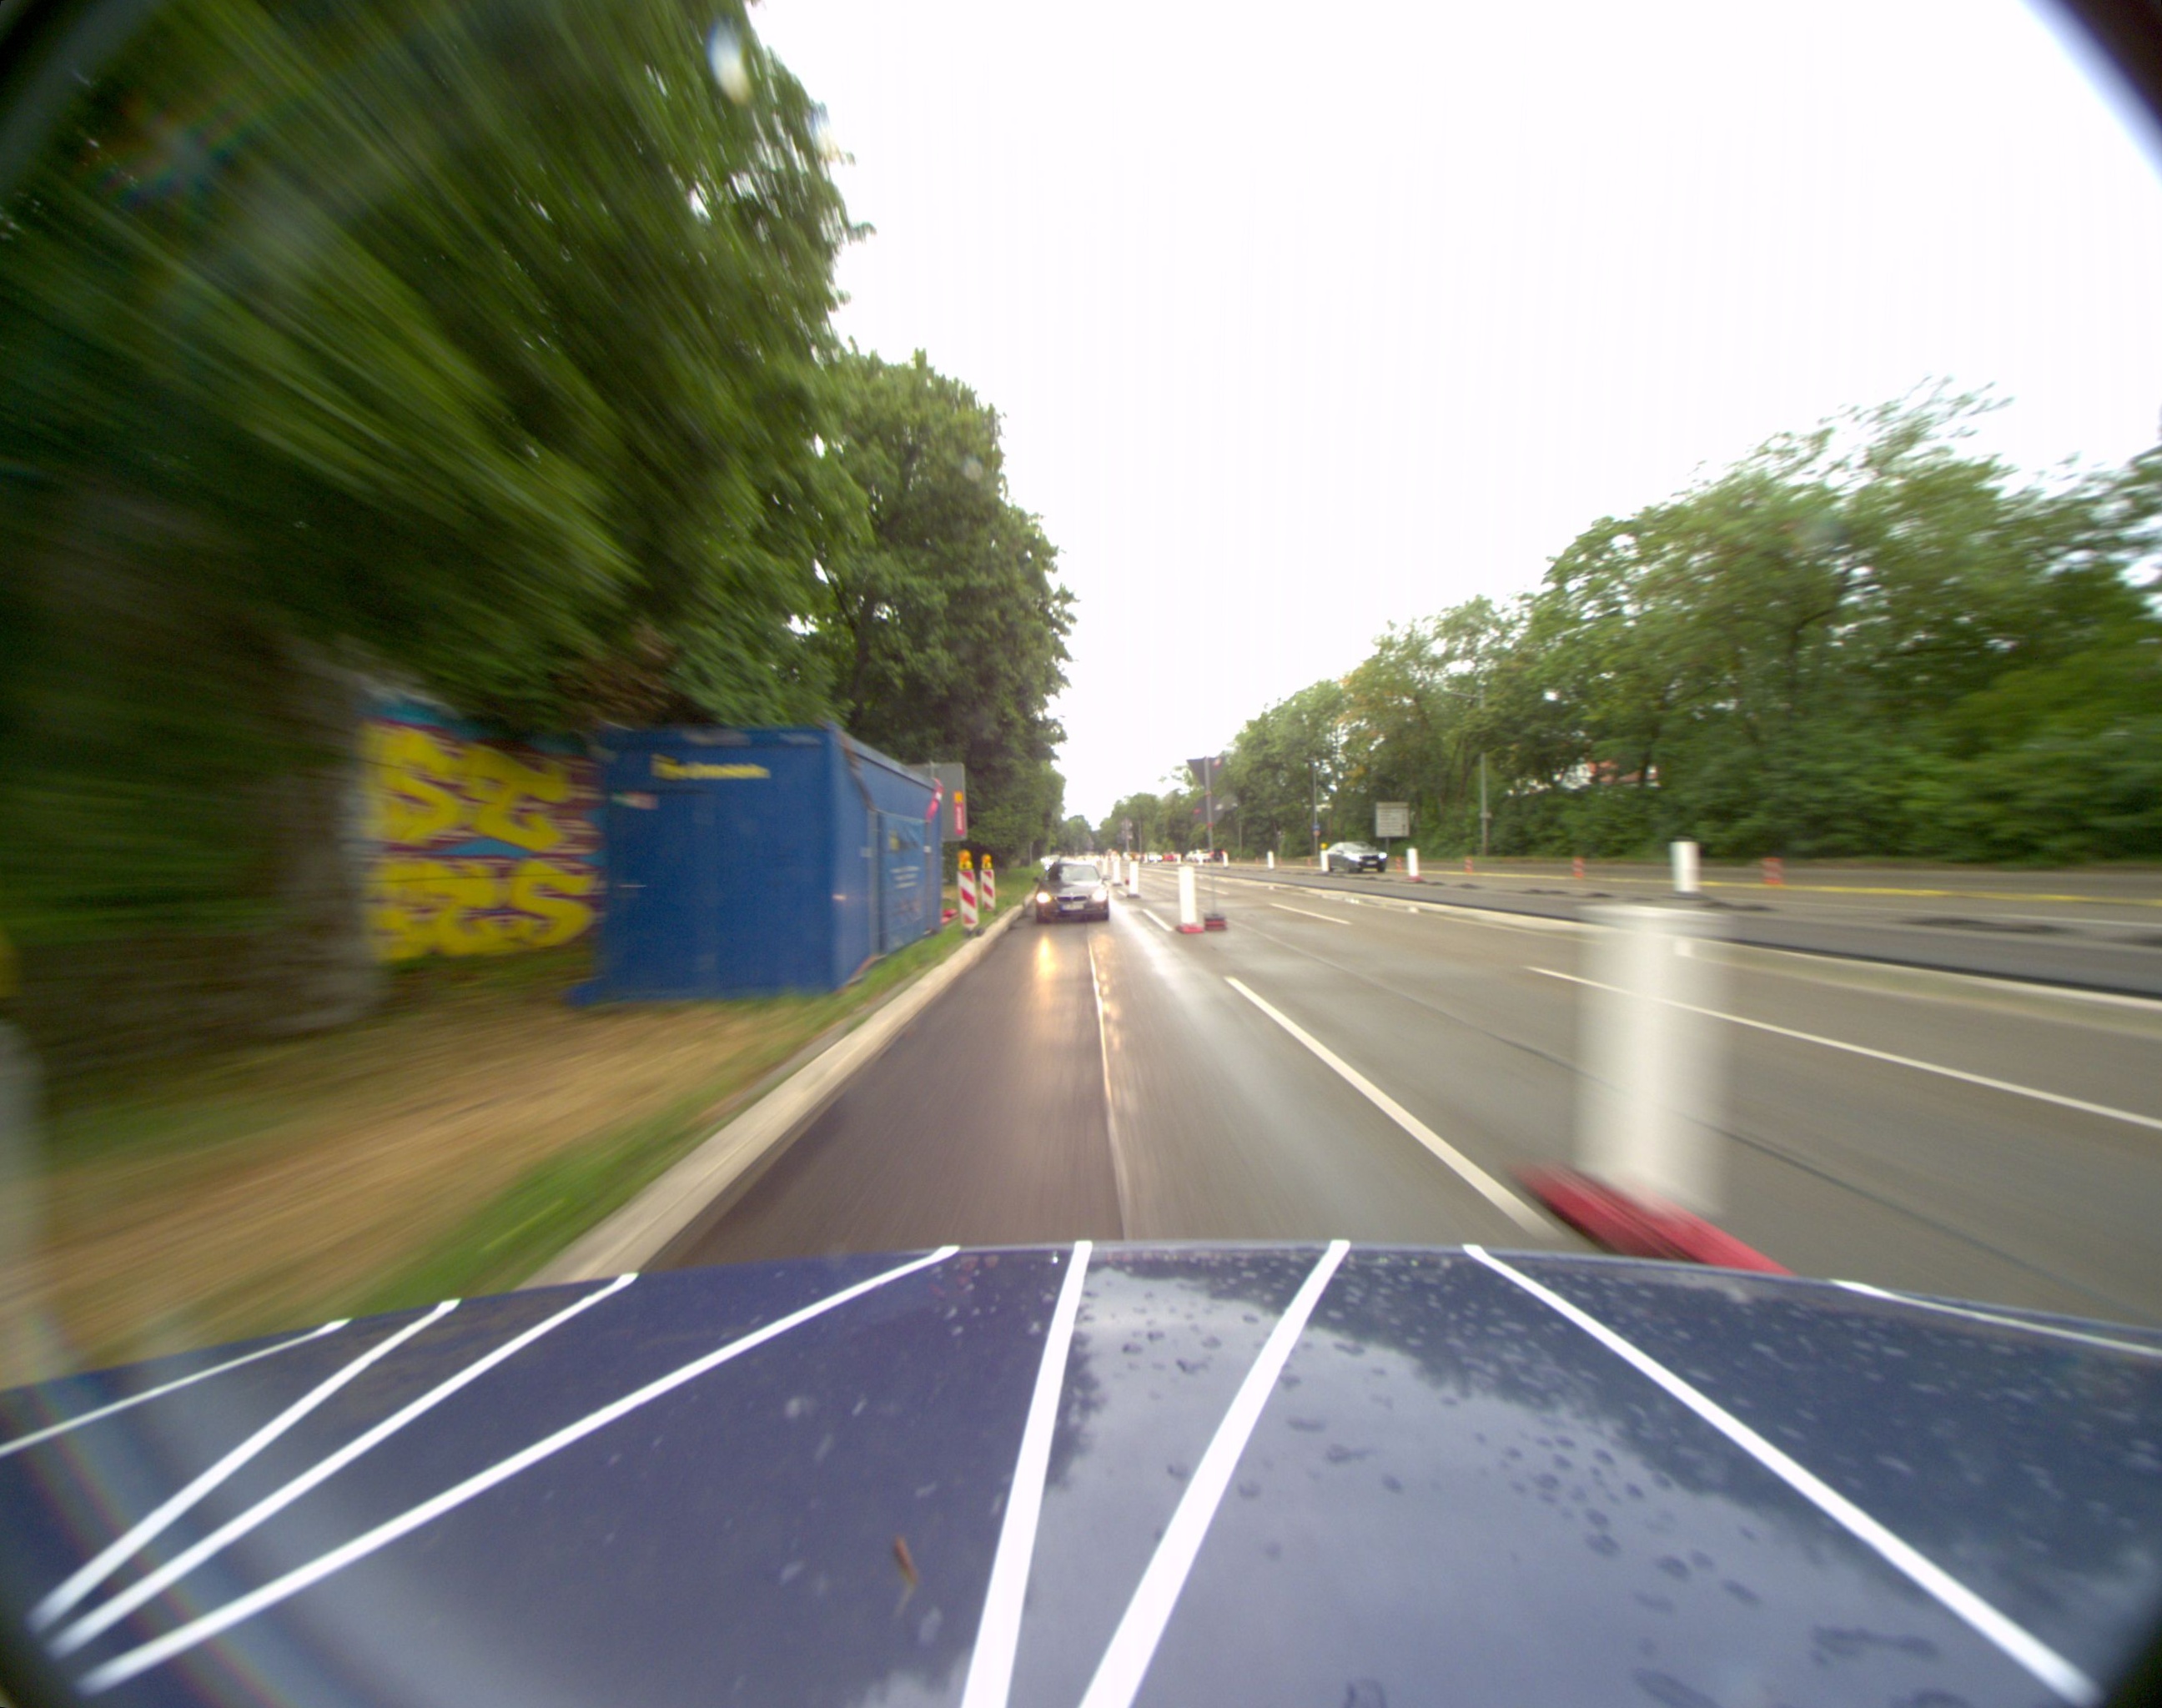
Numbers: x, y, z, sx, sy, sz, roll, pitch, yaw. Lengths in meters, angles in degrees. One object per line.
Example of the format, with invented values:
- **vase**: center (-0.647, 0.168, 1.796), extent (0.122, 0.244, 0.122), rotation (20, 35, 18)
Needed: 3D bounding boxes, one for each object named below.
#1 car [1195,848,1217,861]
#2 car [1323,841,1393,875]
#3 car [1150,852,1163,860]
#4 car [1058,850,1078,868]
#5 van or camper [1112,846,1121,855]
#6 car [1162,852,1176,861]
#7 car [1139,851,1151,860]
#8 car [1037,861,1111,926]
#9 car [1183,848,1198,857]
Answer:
- **car**: center (16.422, 0.027, 100.370), extent (1.895, 1.651, 4.892), rotation (-3, 0, -2)
- **car**: center (14.868, 0.177, 41.075), extent (1.999, 1.619, 4.811), rotation (-2, 0, 0)
- **car**: center (13.797, 0.362, 138.770), extent (1.781, 1.479, 4.195), rotation (-3, 0, -3)
- **car**: center (-1.369, 0.478, 78.786), extent (1.999, 1.707, 3.999), rotation (-1, 1, -1)
- **van or camper**: center (11.083, -1.143, 238.052), extent (1.999, 2.540, 7.727), rotation (-3, 0, -3)
- **car**: center (14.350, 0.457, 124.532), extent (1.683, 1.392, 4.011), rotation (-3, 0, -2)
- **car**: center (13.270, 0.301, 158.084), extent (2.026, 1.715, 5.012), rotation (-3, 0, -1)
- **car**: center (-0.283, 0.938, 19.694), extent (1.658, 1.409, 4.127), rotation (-1, 0, -4)
- **car**: center (17.118, -0.230, 119.171), extent (1.683, 1.487, 4.148), rotation (-1, 0, -2)
